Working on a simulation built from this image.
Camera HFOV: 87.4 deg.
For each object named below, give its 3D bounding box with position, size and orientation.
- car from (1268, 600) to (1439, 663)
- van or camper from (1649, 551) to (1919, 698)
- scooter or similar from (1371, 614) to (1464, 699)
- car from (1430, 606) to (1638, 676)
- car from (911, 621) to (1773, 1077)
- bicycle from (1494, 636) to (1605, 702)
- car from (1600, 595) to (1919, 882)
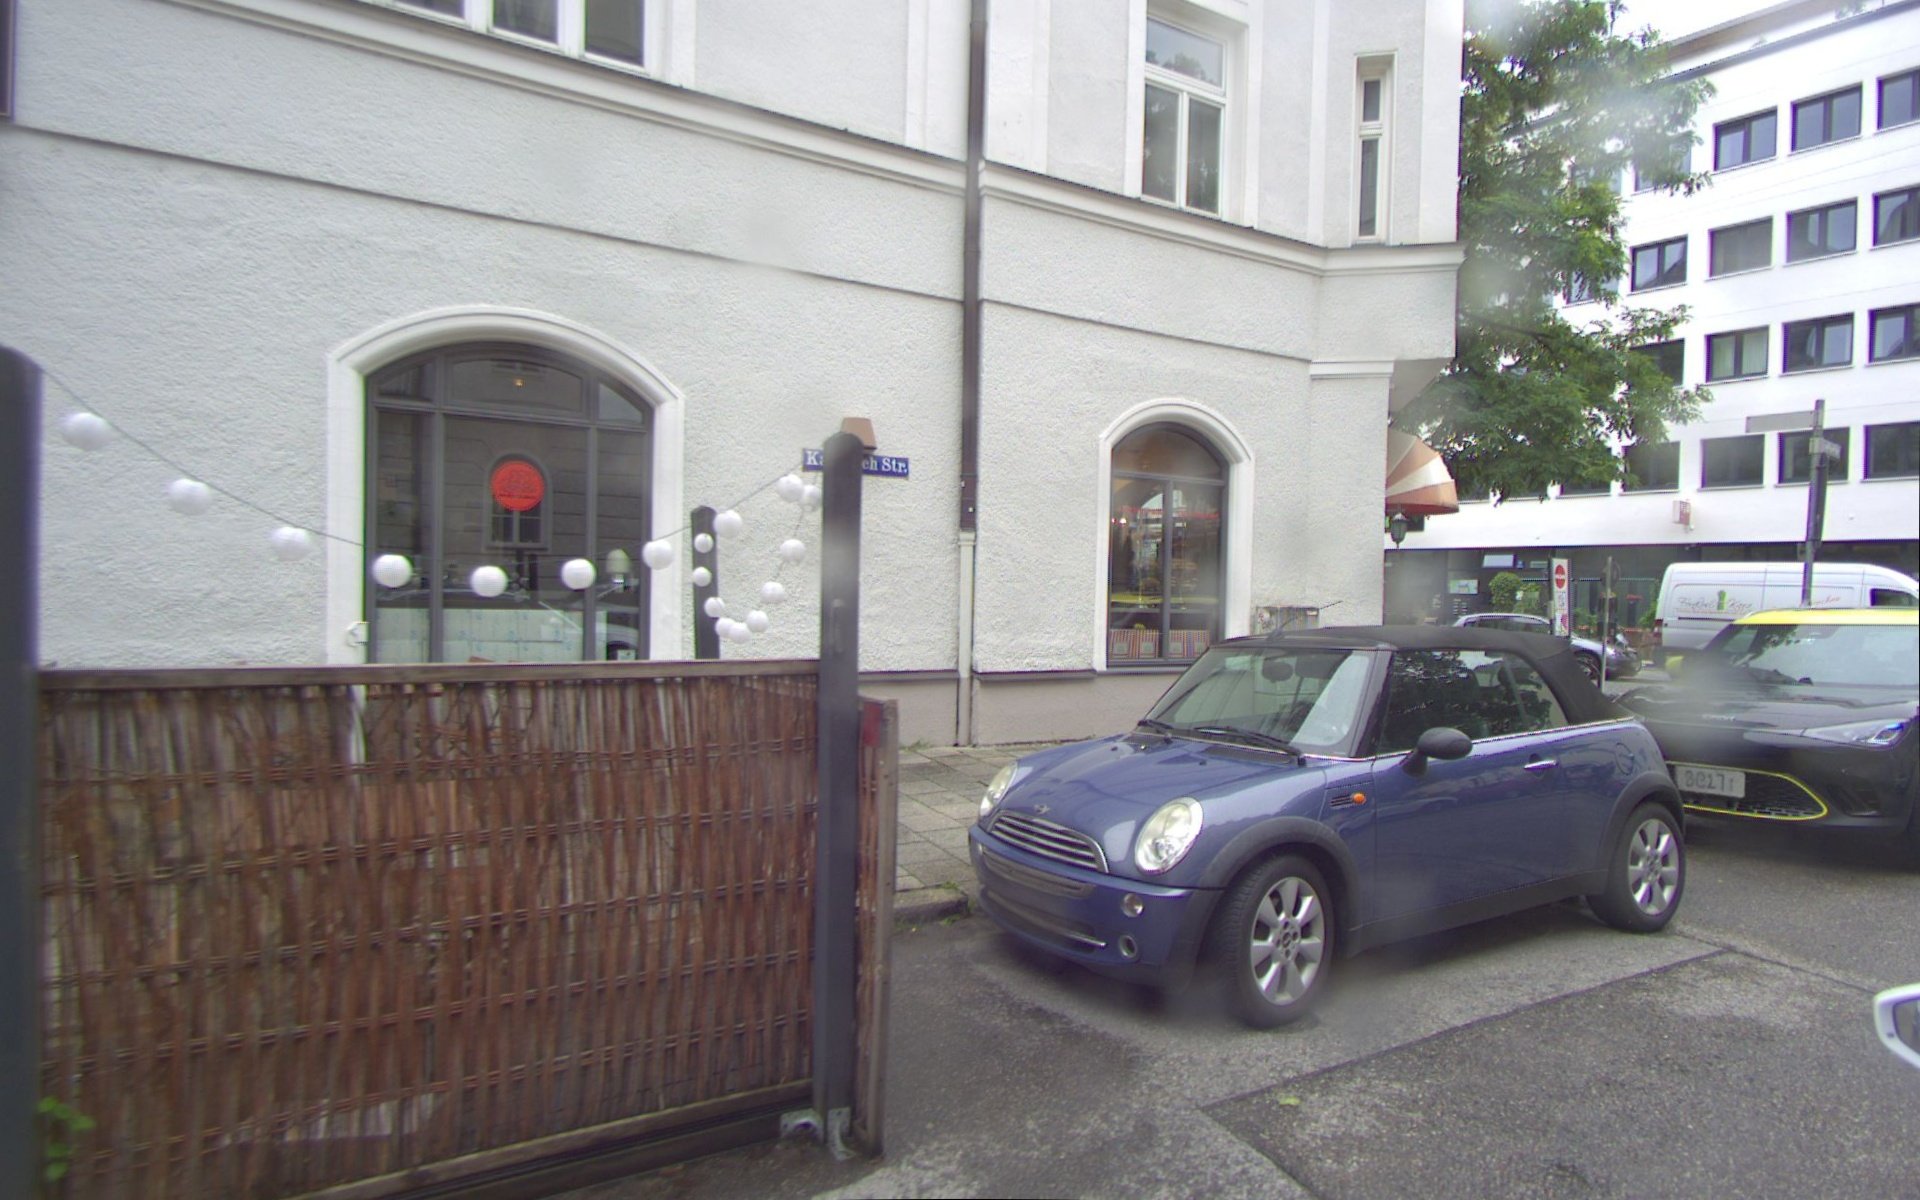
[{"bbox_3d":[10.929,0.853,28.124,1.784,1.564,4.093,3,-1,-38],"label":"car"},{"bbox_3d":[17.545,0.481,20.133,1.857,2.712,5.857,3,-1,-39],"label":"van or camper"},{"bbox_3d":[6.966,0.859,15.305,1.169,1.232,0.554,2,2,-18],"label":"scooter or similar"},{"bbox_3d":[13.878,0.966,24.433,1.787,1.447,4.014,4,-2,-43],"label":"car"},{"bbox_3d":[1.906,0.824,4.809,3.950,1.408,1.700,1,-1,-28],"label":"car"},{"bbox_3d":[9.912,1.138,16.892,1.537,0.959,0.897,3,0,34],"label":"bicycle"},{"bbox_3d":[6.641,0.843,7.391,3.899,1.618,1.669,2,-2,-30],"label":"car"}]
